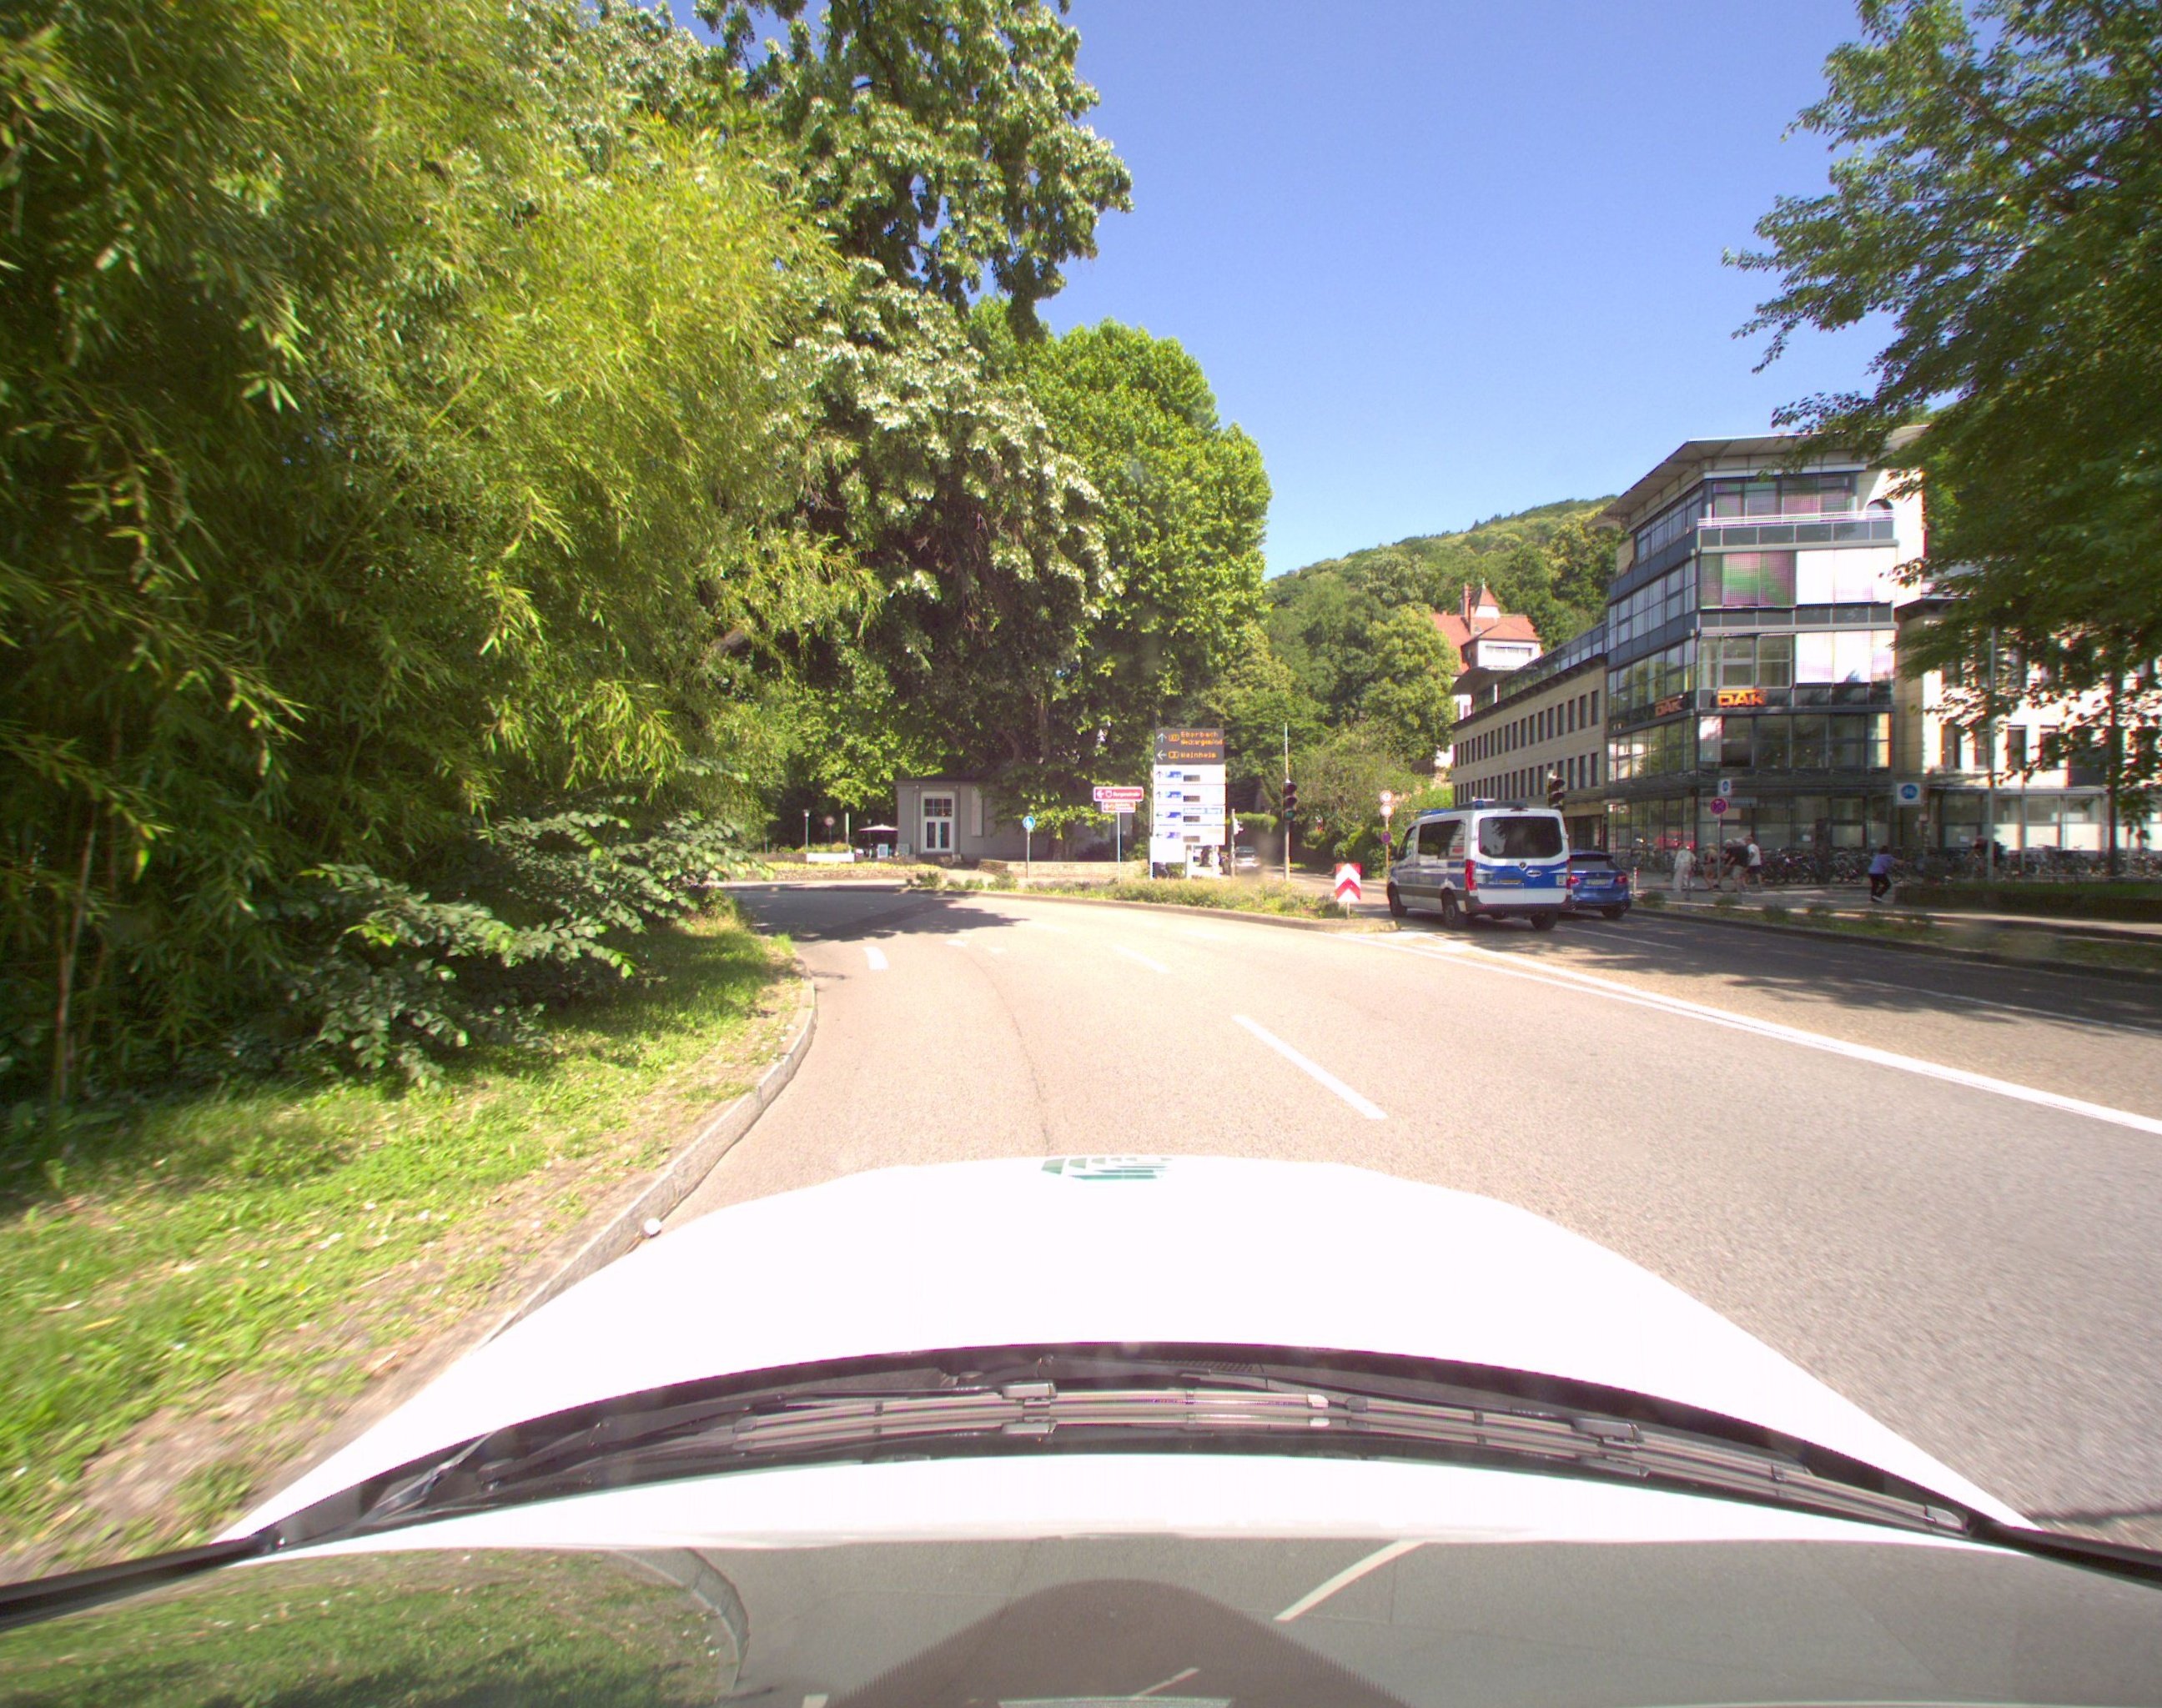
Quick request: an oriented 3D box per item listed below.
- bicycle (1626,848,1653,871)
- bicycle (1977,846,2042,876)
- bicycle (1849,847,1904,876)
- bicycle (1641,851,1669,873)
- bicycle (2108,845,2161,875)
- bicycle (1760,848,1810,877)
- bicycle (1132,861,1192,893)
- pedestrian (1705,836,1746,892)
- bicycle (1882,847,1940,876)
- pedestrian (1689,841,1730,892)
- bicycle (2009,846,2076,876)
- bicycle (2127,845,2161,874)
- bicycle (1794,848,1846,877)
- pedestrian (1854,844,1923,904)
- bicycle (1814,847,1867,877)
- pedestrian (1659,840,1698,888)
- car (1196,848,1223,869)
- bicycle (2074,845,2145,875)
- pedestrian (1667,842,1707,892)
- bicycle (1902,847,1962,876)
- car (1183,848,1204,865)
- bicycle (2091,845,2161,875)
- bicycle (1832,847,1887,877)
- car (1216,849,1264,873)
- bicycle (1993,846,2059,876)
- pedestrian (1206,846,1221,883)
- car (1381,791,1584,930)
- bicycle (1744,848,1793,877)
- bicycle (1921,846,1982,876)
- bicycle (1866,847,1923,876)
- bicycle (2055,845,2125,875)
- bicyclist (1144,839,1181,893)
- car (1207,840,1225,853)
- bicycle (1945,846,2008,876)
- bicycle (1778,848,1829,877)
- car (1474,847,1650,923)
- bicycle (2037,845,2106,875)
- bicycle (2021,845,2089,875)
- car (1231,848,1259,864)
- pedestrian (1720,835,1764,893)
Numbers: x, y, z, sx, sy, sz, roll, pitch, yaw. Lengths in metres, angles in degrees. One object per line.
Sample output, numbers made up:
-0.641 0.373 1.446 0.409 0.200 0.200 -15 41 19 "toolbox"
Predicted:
25.478 0.253 37.161 0.403 1.012 1.344 -1 0 6 "bicycle"
34.580 0.243 30.369 0.534 1.085 1.839 -1 0 8 "bicycle"
30.331 0.281 31.085 0.534 1.085 1.839 -1 0 8 "bicycle"
25.164 0.325 35.720 0.403 0.941 1.344 -1 0 6 "bicycle"
39.374 0.201 30.158 0.534 1.085 1.839 -1 0 8 "bicycle"
27.246 0.309 31.550 0.534 1.085 1.839 -1 0 8 "bicycle"
2.955 0.836 29.822 2.056 1.112 0.761 0 0 31 "bicycle"
21.667 0.313 27.380 0.767 1.854 0.831 0 0 7 "pedestrian"
31.552 0.271 31.001 0.534 1.085 1.839 -1 0 8 "bicycle"
21.030 0.411 27.252 0.766 1.662 0.831 0 0 8 "pedestrian"
35.798 0.232 30.351 0.534 1.085 1.839 -1 0 8 "bicycle"
39.963 0.195 30.047 0.534 1.085 1.839 -1 0 8 "bicycle"
28.469 0.298 31.395 0.534 1.085 1.839 -1 0 8 "bicycle"
21.855 0.535 22.065 1.110 1.581 0.745 -1 0 19 "pedestrian"
29.066 0.293 31.210 0.534 1.085 1.839 -1 0 8 "bicycle"
20.757 0.334 28.305 0.766 1.662 0.831 0 0 8 "pedestrian"
9.556 0.324 60.742 1.747 1.461 3.499 0 0 6 "car"
38.235 0.211 30.310 0.534 1.085 1.839 -1 0 8 "bicycle"
20.387 0.418 27.413 0.767 1.662 0.831 0 0 7 "pedestrian"
32.103 0.265 30.740 0.534 1.085 1.839 -1 0 8 "bicycle"
9.892 0.223 71.794 1.747 1.461 3.652 0 0 6 "car"
38.813 0.206 30.242 0.534 1.085 1.839 -1 0 8 "bicycle"
29.737 0.287 31.137 0.534 1.085 1.839 -1 0 8 "bicycle"
9.020 0.374 46.528 1.753 1.334 3.796 0 0 -4 "car"
35.180 0.238 30.348 0.534 1.085 1.839 -1 0 8 "bicycle"
5.751 0.452 35.384 0.543 1.621 0.637 -1 0 15 "pedestrian"
8.190 0.116 17.231 2.065 2.508 4.933 0 0 3 "car"
26.700 0.314 31.666 0.534 1.085 1.839 -1 0 8 "bicycle"
32.743 0.260 30.671 0.534 1.085 1.839 -1 0 8 "bicycle"
30.972 0.276 31.024 0.534 1.085 1.839 -1 0 8 "bicycle"
37.621 0.216 30.390 0.534 1.085 1.839 -1 0 8 "bicycle"
2.974 0.425 29.801 1.115 1.932 0.753 0 0 31 "bicyclist"
15.301 -0.877 92.227 1.747 1.461 3.652 0 0 6 "car"
33.383 0.253 30.403 0.534 1.085 1.839 -1 0 8 "bicycle"
27.880 0.304 31.462 0.534 1.085 1.839 -1 0 8 "bicycle"
11.193 0.637 19.332 1.713 1.541 4.273 1 1 1 "car"
37.011 0.222 30.474 0.534 1.085 1.839 -1 0 8 "bicycle"
36.410 0.227 30.479 0.534 1.085 1.839 -1 0 8 "bicycle"
12.865 0.136 64.031 1.747 1.213 3.499 0 0 6 "car"
21.422 0.309 26.407 0.766 1.854 0.831 0 0 8 "pedestrian"
